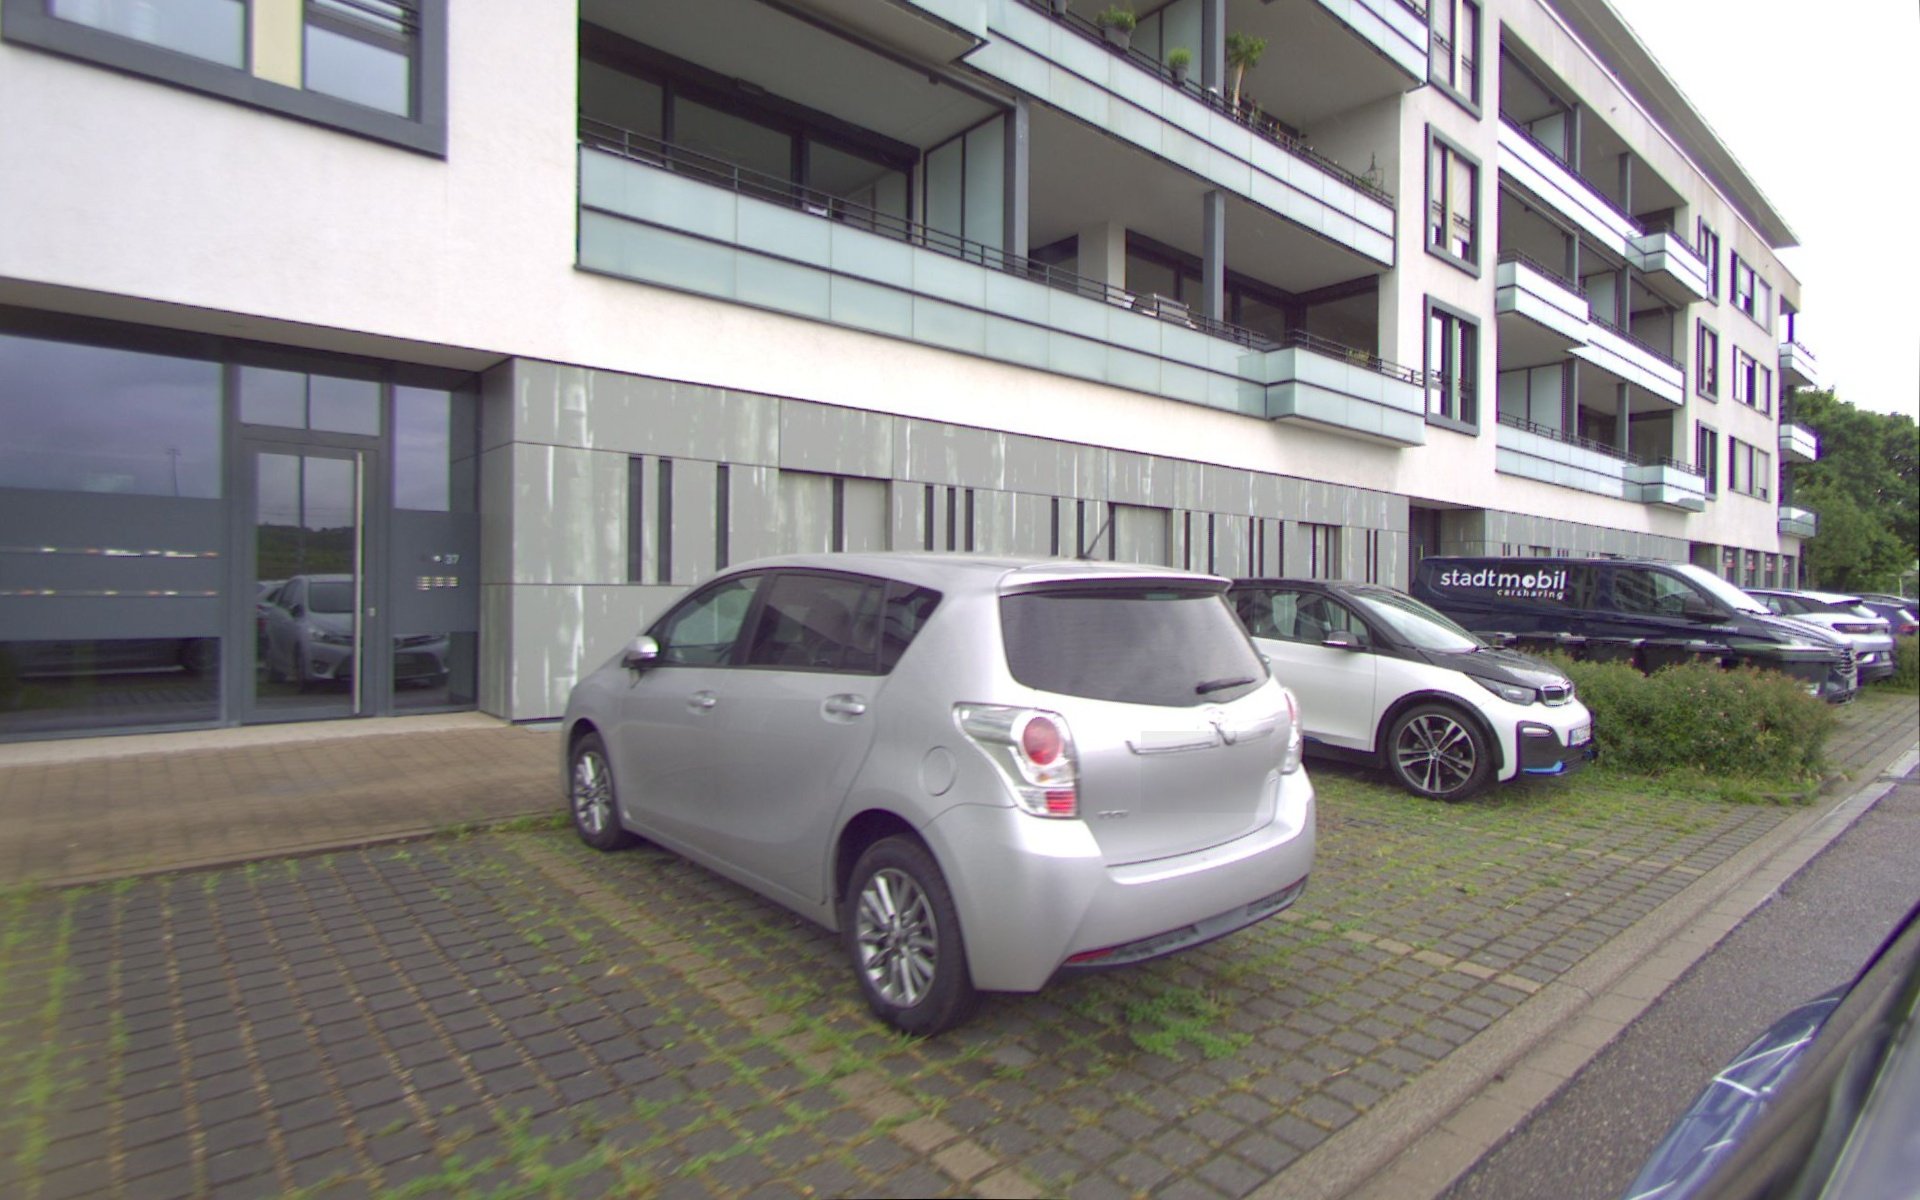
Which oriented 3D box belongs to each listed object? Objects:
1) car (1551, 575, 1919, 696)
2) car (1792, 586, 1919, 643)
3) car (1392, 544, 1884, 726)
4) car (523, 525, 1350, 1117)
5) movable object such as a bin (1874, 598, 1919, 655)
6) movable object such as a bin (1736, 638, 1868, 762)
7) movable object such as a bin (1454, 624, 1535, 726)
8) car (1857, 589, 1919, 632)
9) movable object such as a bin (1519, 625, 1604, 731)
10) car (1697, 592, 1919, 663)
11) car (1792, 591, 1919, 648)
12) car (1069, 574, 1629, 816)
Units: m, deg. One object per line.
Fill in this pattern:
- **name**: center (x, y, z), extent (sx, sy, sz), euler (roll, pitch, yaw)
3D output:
- **car**: center (12.590, 0.459, 16.690), extent (2.043, 1.621, 4.434), euler (0, 2, -36)
- **car**: center (28.816, 0.424, 31.112), extent (1.835, 1.685, 4.792), euler (0, 0, -41)
- **car**: center (8.674, 0.263, 13.422), extent (1.947, 1.952, 5.060), euler (0, 2, -41)
- **car**: center (-0.500, 0.574, 4.948), extent (1.659, 1.664, 4.211), euler (-1, 2, -44)
- **movable object such as a bin**: center (23.134, 0.631, 24.512), extent (0.960, 1.354, 1.351), euler (0, -1, -41)
- **movable object such as a bin**: center (7.815, 0.907, 9.425), extent (0.530, 1.060, 0.818), euler (0, 0, -3)
- **movable object such as a bin**: center (5.945, 0.812, 11.252), extent (0.803, 1.060, 0.540), euler (0, 0, -39)
- **car**: center (34.653, 0.354, 35.950), extent (1.755, 1.505, 3.993), euler (0, 0, -41)
- **movable object such as a bin**: center (6.453, 0.816, 10.854), extent (0.803, 1.060, 0.540), euler (0, 0, -39)
- **car**: center (19.599, 0.563, 23.232), extent (1.681, 1.496, 4.096), euler (0, 0, -41)
- **car**: center (25.813, 0.517, 28.075), extent (1.755, 1.505, 3.993), euler (0, 0, -41)
- **car**: center (3.109, 0.572, 8.759), extent (1.721, 1.501, 4.180), euler (-1, 3, -44)
